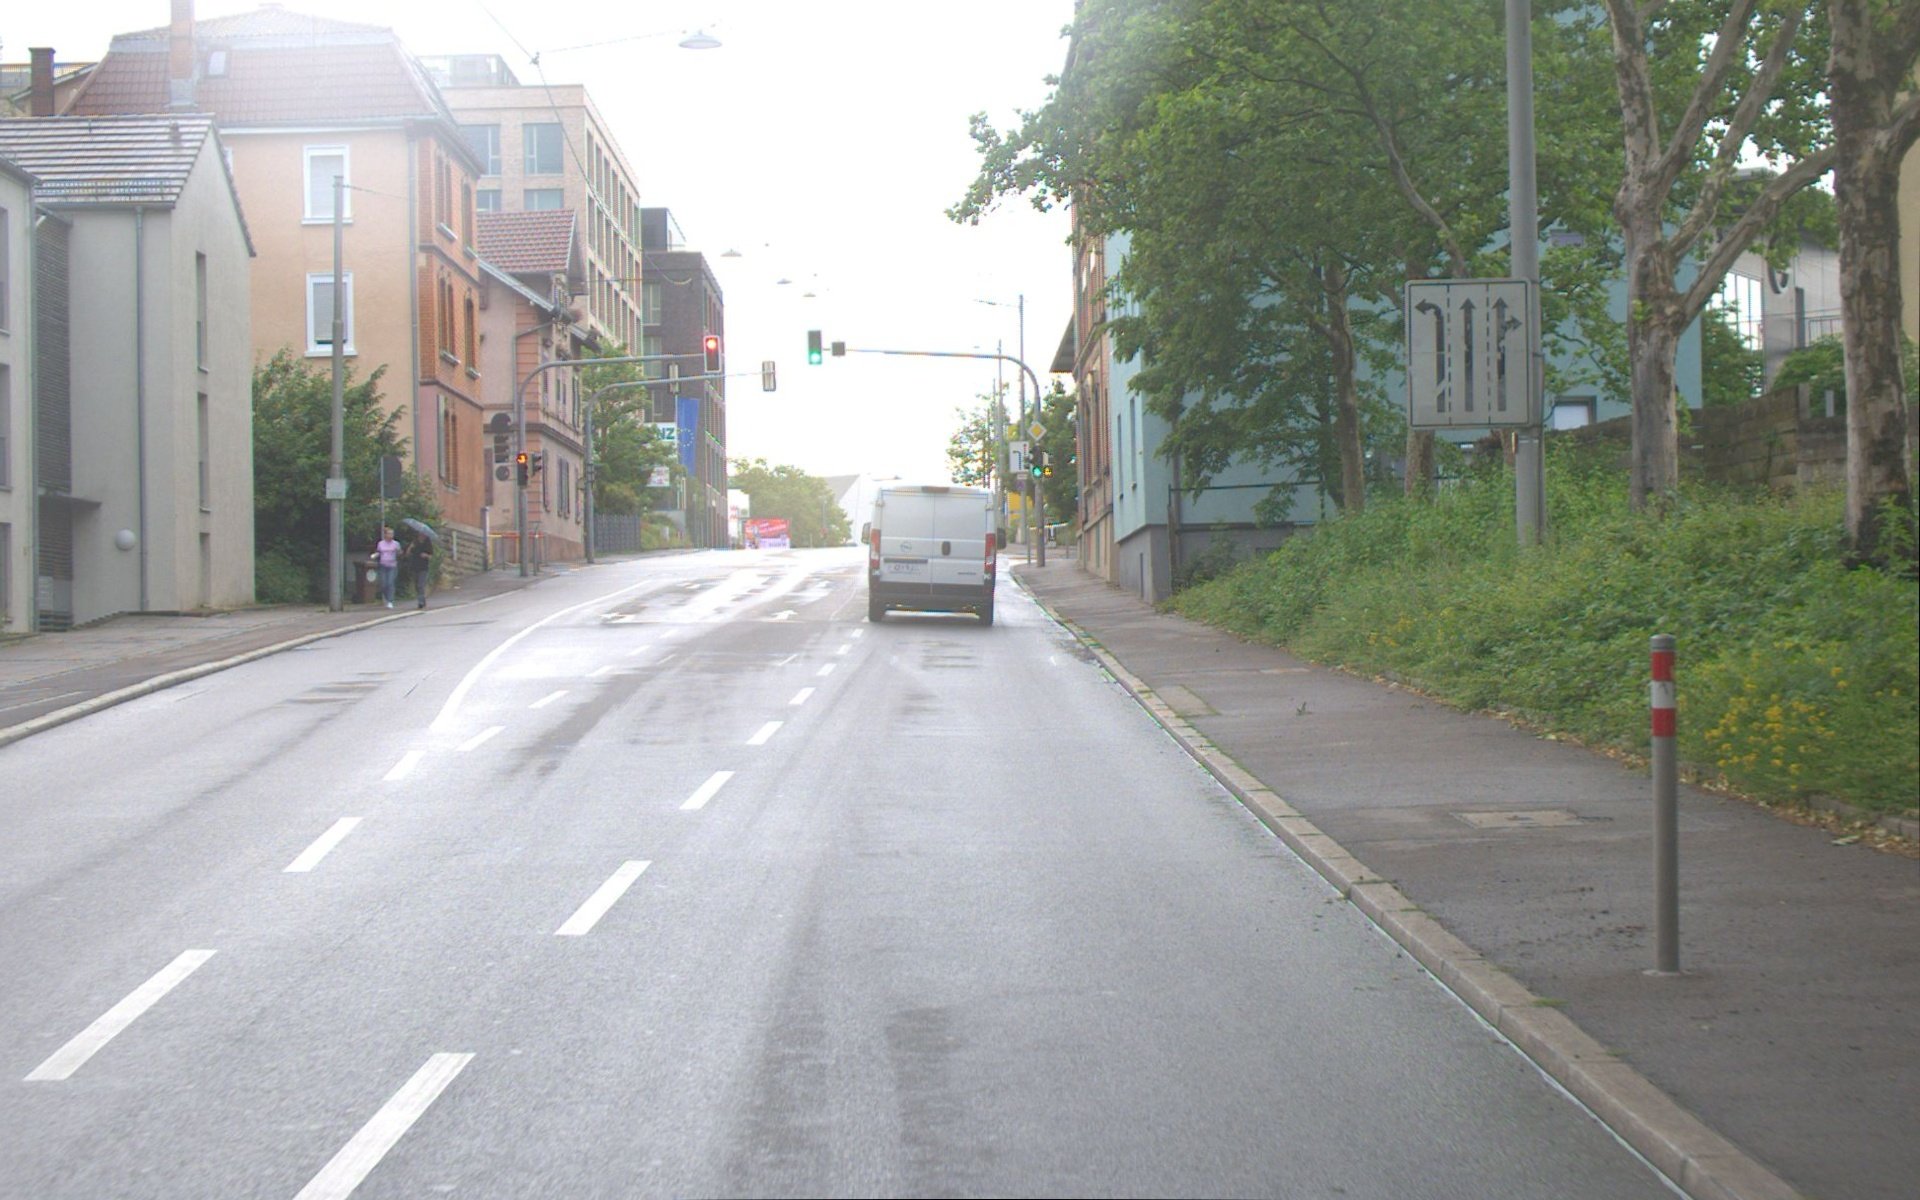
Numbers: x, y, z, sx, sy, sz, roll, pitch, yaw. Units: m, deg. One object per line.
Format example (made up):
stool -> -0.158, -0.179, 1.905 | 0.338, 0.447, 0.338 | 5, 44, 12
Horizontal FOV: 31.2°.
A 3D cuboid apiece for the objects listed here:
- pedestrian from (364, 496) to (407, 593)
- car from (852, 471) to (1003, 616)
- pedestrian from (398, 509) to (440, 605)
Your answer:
pedestrian -> -12.013, -1.159, 71.872 | 0.671, 2.007, 0.941 | 0, 1, 4
car -> -0.518, -0.882, 56.326 | 2.336, 2.223, 4.000 | -1, -1, 0
pedestrian -> -11.290, -0.900, 71.815 | 0.671, 2.007, 0.941 | 0, 1, 4
